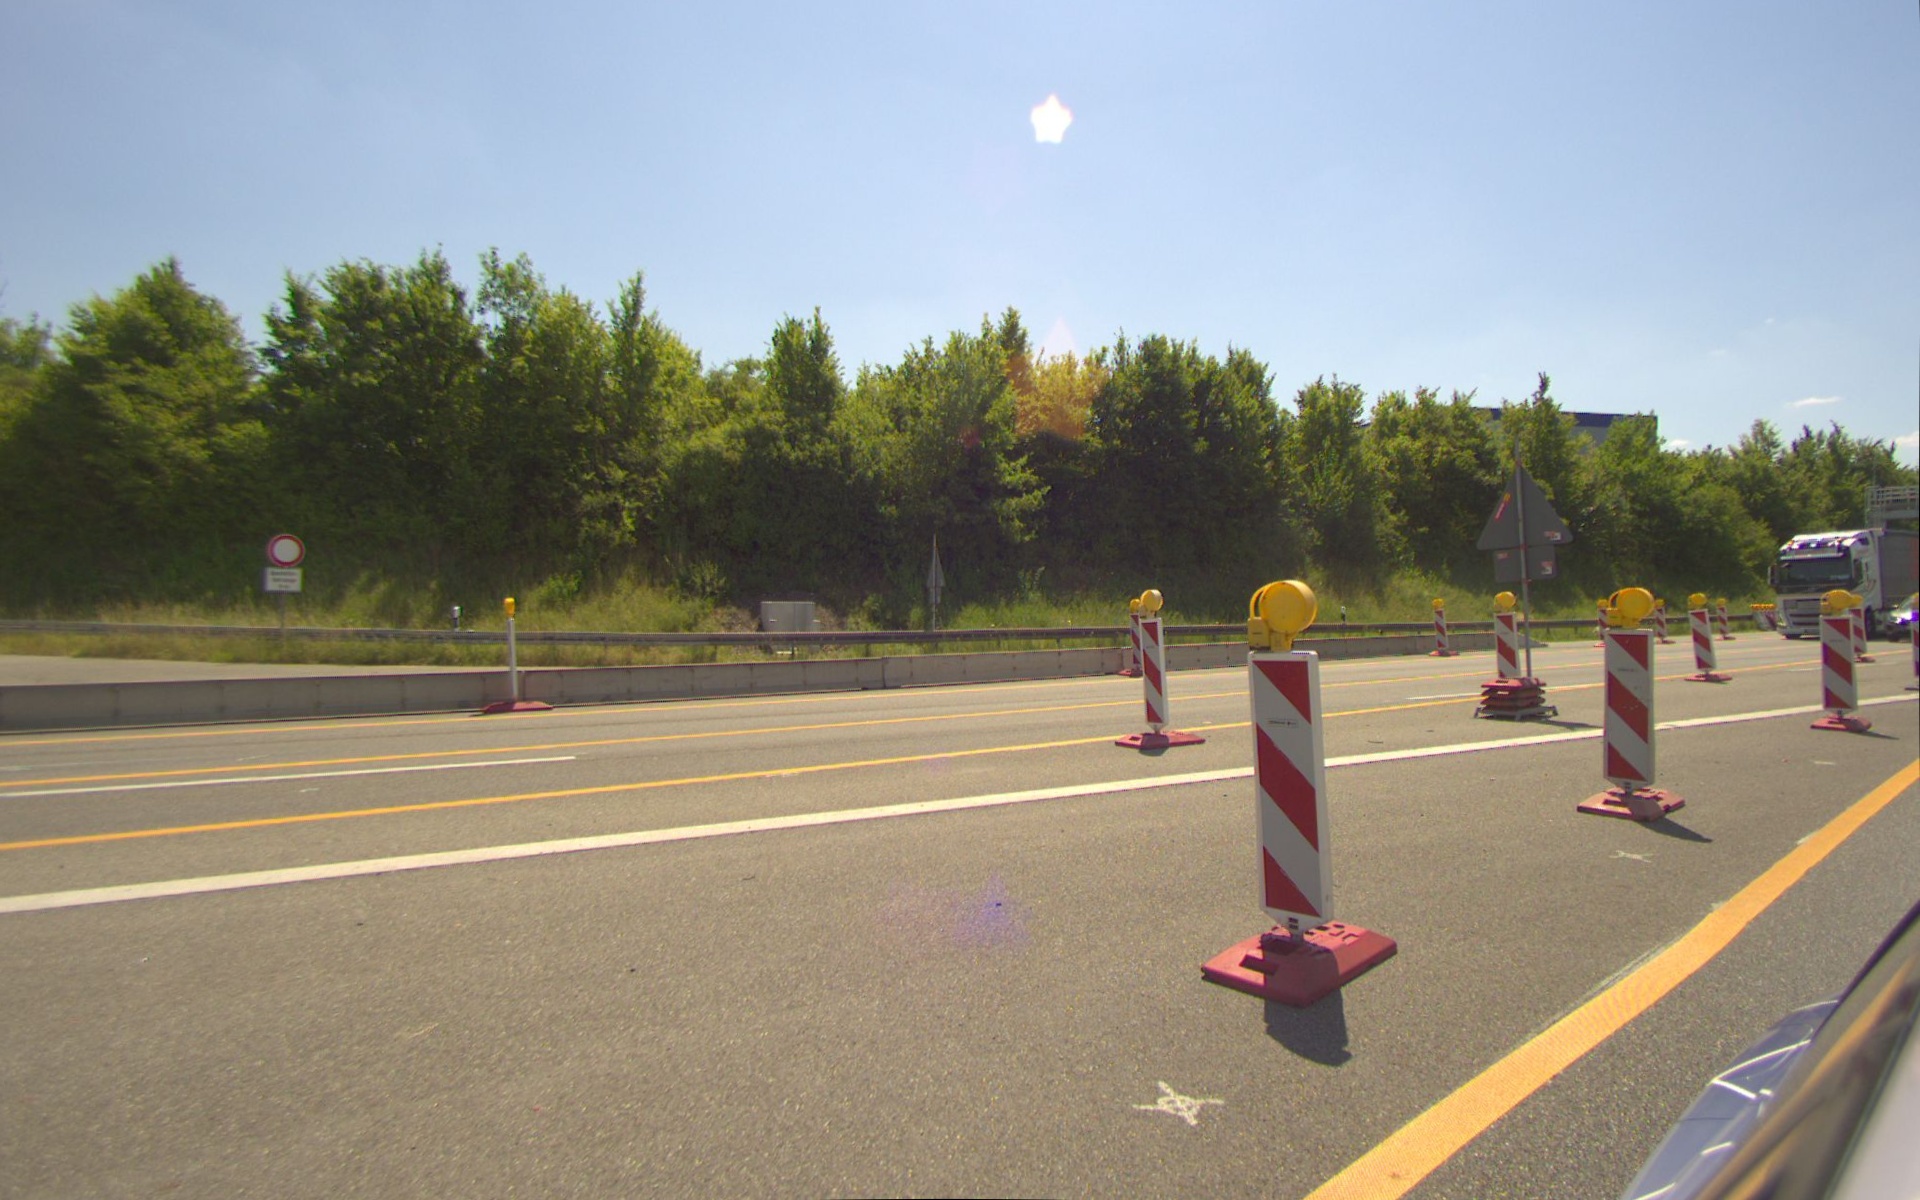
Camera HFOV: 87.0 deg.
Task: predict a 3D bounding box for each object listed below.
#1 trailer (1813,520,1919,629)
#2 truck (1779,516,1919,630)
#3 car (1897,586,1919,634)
[{"bbox_3d":[39.682,-0.965,41.726,13.593,4.003,2.550,0,-1,-31],"label":"trailer"},{"bbox_3d":[33.609,-0.938,38.066,5.488,4.001,2.537,0,-1,-31],"label":"truck"},{"bbox_3d":[33.073,0.308,33.839,3.954,1.572,1.711,-1,0,-34],"label":"car"}]
